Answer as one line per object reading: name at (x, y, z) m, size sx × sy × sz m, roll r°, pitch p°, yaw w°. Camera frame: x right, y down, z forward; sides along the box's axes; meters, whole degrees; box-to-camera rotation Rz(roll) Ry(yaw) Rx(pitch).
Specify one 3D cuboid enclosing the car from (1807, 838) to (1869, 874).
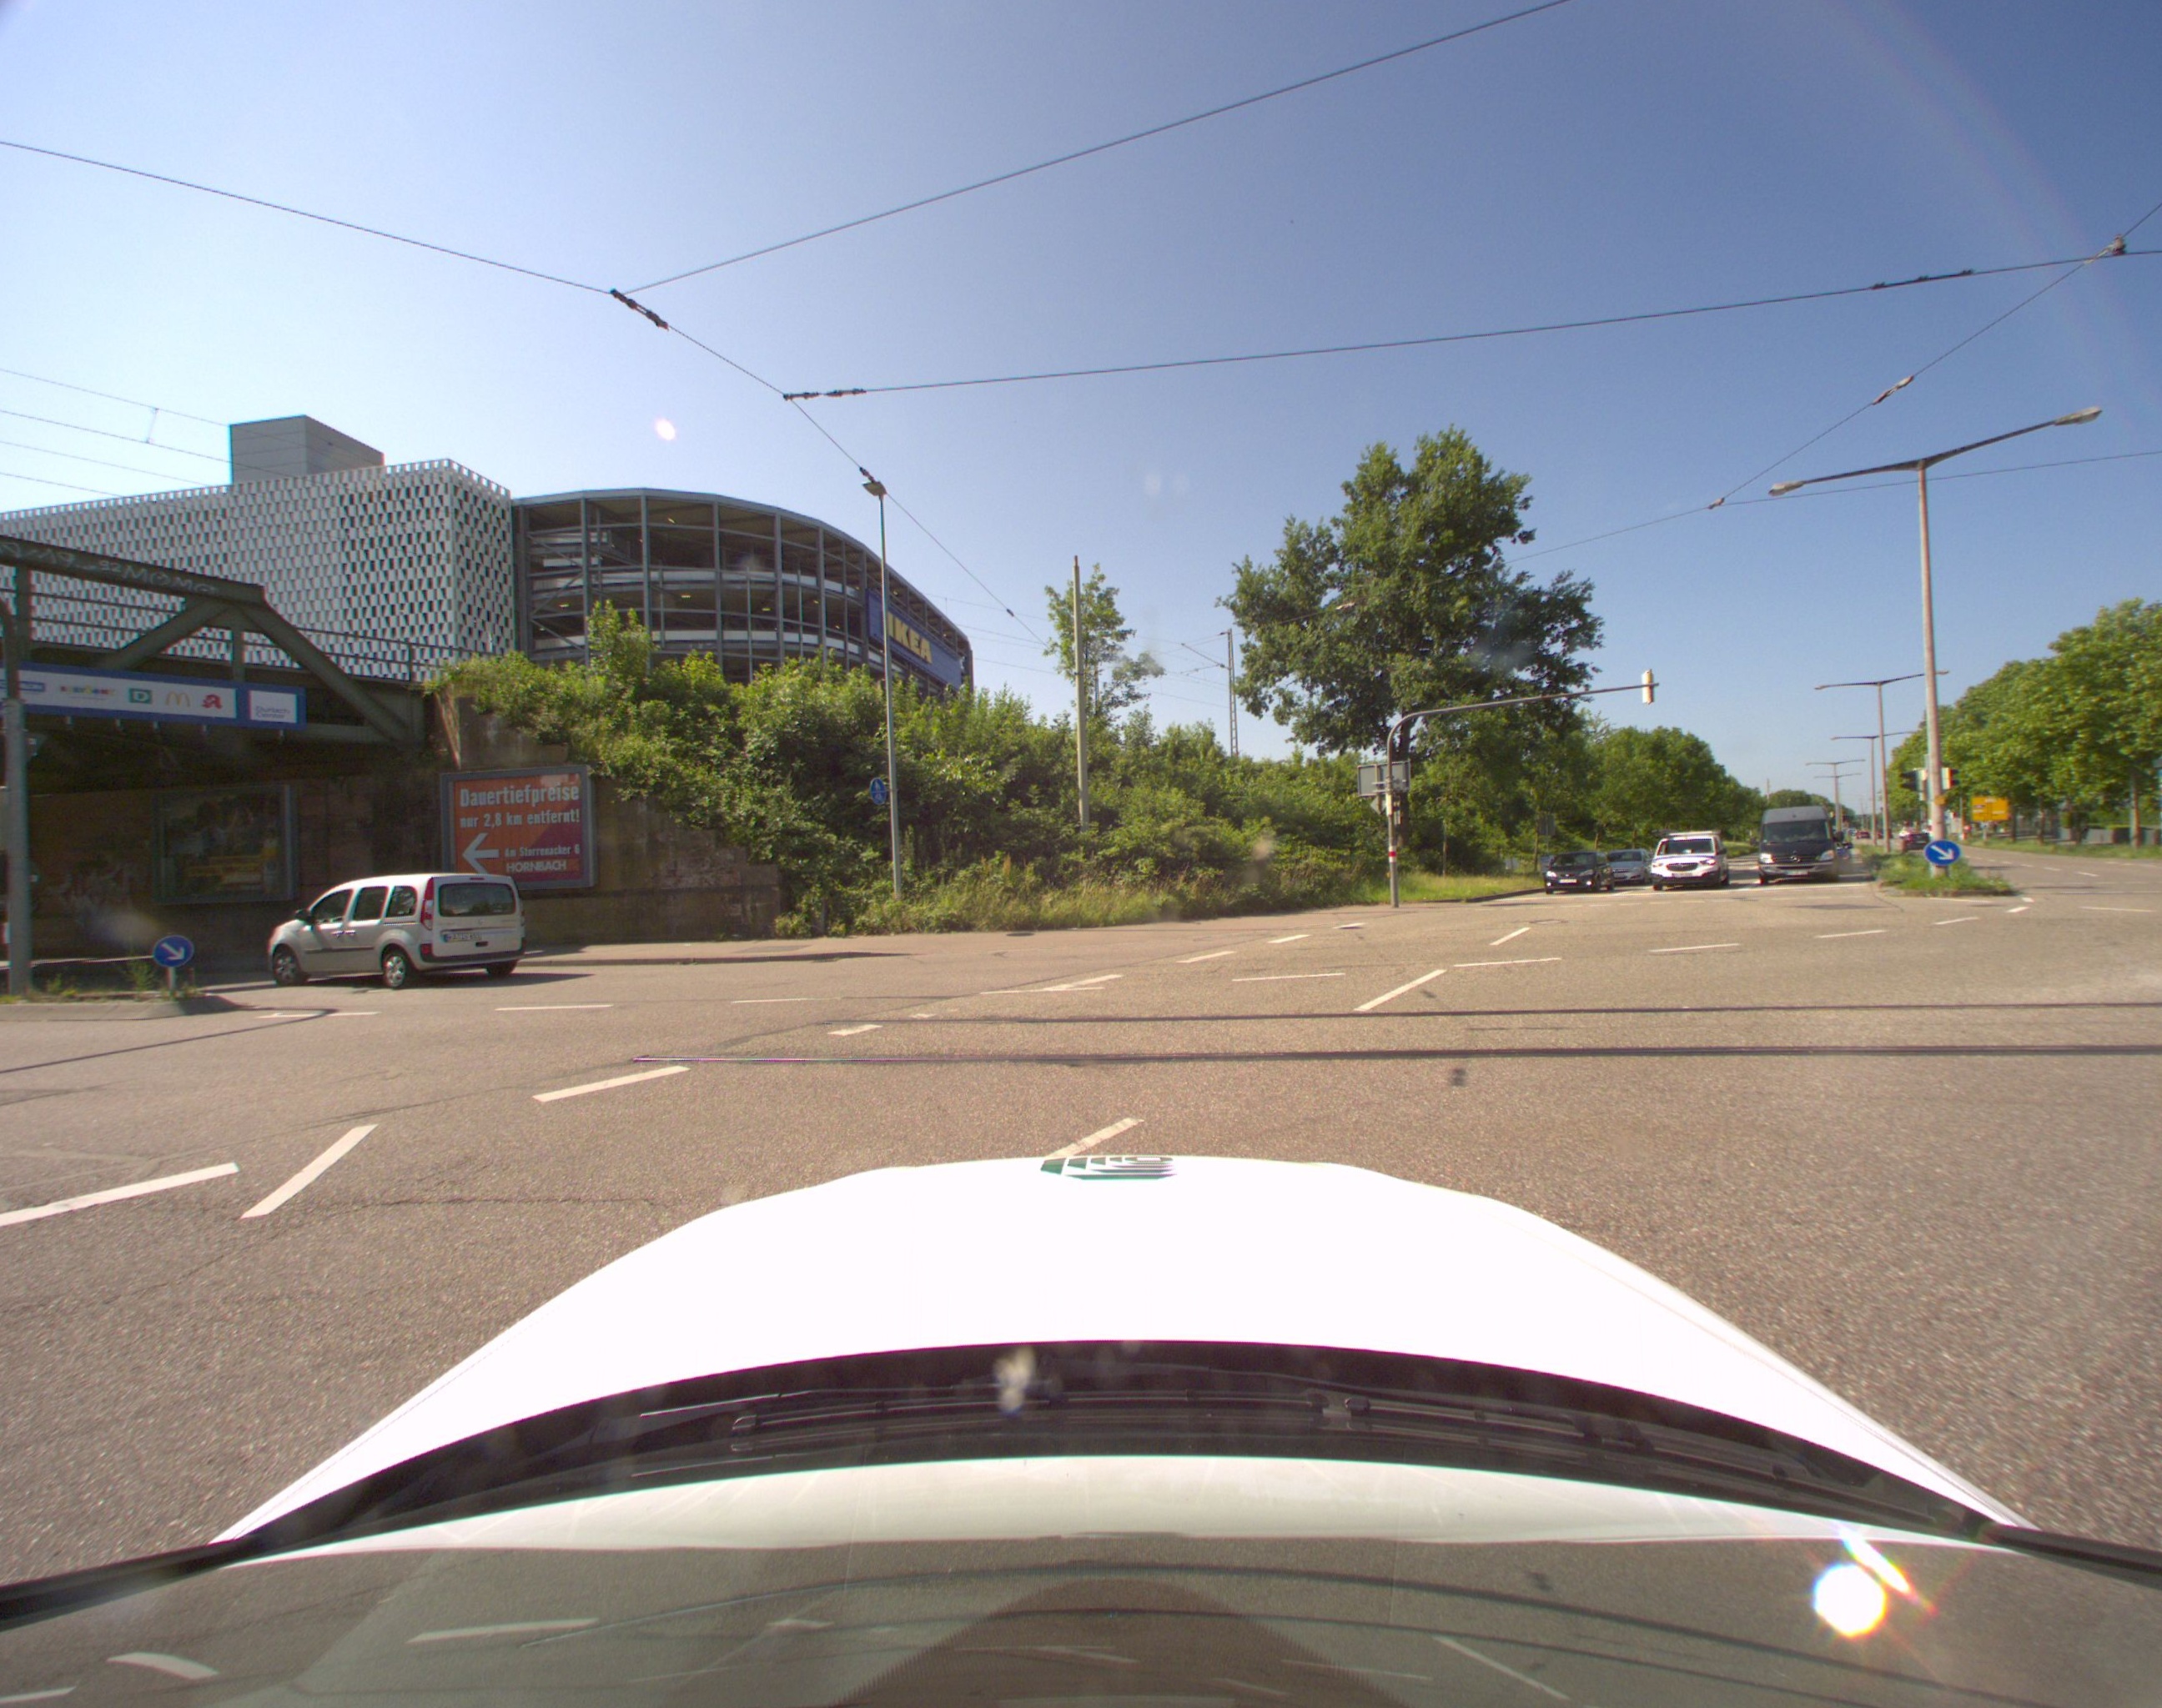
car at (35.517, 0.091, 38.183) m, size 1.975 × 1.585 × 4.023 m, roll 0°, pitch 0°, yaw 45°

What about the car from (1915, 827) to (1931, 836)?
car at (151.462, -4.056, 146.498) m, size 1.975 × 1.585 × 4.482 m, roll 0°, pitch 0°, yaw 45°

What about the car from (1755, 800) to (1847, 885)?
car at (24.522, -0.355, 27.648) m, size 1.975 × 2.607 × 5.164 m, roll -3°, pitch -2°, yaw 44°

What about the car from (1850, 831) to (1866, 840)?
car at (139.296, -3.238, 145.974) m, size 1.975 × 1.585 × 4.482 m, roll 0°, pitch 0°, yaw 45°

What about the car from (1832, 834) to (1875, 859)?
car at (51.518, -0.503, 54.271) m, size 1.975 × 1.585 × 4.023 m, roll 0°, pitch 0°, yaw 45°

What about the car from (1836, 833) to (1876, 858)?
car at (54.672, -0.592, 57.458) m, size 1.975 × 1.640 × 4.024 m, roll 0°, pitch 0°, yaw 44°

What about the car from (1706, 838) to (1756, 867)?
car at (40.727, -0.119, 50.991) m, size 1.975 × 1.679 × 4.261 m, roll -3°, pitch -2°, yaw 44°

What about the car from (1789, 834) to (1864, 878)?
car at (29.982, 0.072, 32.714) m, size 1.975 × 1.585 × 4.023 m, roll -4°, pitch -3°, yaw 45°

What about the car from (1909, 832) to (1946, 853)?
car at (69.148, -0.926, 66.592) m, size 1.975 × 1.585 × 4.482 m, roll 0°, pitch 0°, yaw 45°

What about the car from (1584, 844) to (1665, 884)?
car at (22.453, 0.404, 33.572) m, size 1.975 × 1.540 × 4.261 m, roll -3°, pitch -2°, yaw 44°

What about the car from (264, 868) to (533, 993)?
car at (-11.567, 1.221, 13.825) m, size 3.952 × 1.838 × 1.802 m, roll -2°, pitch 0°, yaw 21°

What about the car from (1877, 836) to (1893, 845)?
car at (142.036, -2.438, 143.865) m, size 1.975 × 1.585 × 4.482 m, roll 0°, pitch 0°, yaw 45°

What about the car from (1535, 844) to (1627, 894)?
car at (17.514, 0.510, 28.485) m, size 1.893 × 1.641 × 3.759 m, roll -3°, pitch -2°, yaw 44°

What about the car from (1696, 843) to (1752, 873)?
car at (35.693, 0.183, 45.169) m, size 1.975 × 1.585 × 4.482 m, roll 0°, pitch 0°, yaw 45°

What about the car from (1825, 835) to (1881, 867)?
car at (39.672, -0.172, 41.816) m, size 1.975 × 1.585 × 4.023 m, roll 0°, pitch 0°, yaw 45°

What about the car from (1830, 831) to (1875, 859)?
car at (47.683, -0.533, 50.333) m, size 1.975 × 1.640 × 4.024 m, roll 0°, pitch 0°, yaw 44°

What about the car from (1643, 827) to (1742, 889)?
car at (20.581, 0.127, 27.309) m, size 1.975 × 1.870 × 4.801 m, roll -3°, pitch -2°, yaw 44°
